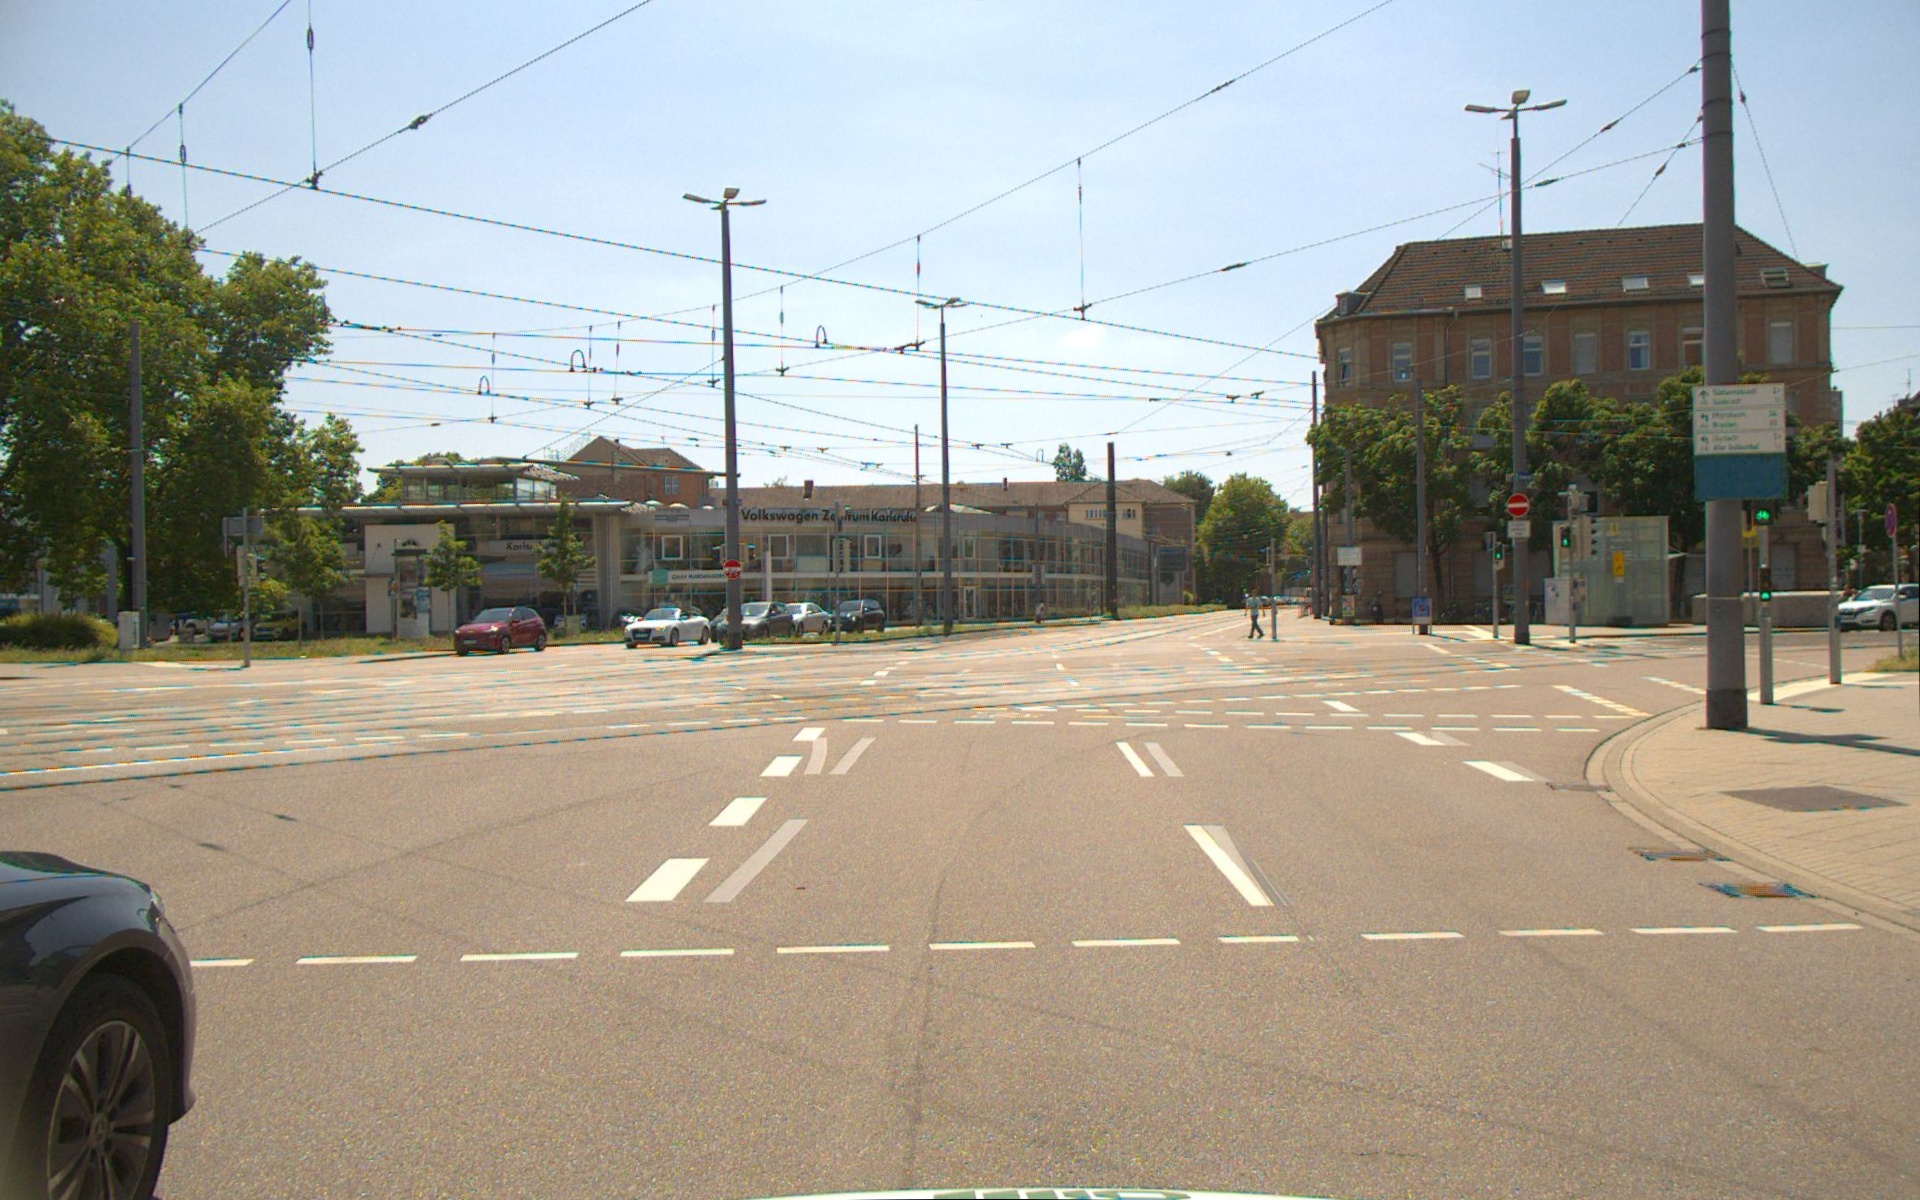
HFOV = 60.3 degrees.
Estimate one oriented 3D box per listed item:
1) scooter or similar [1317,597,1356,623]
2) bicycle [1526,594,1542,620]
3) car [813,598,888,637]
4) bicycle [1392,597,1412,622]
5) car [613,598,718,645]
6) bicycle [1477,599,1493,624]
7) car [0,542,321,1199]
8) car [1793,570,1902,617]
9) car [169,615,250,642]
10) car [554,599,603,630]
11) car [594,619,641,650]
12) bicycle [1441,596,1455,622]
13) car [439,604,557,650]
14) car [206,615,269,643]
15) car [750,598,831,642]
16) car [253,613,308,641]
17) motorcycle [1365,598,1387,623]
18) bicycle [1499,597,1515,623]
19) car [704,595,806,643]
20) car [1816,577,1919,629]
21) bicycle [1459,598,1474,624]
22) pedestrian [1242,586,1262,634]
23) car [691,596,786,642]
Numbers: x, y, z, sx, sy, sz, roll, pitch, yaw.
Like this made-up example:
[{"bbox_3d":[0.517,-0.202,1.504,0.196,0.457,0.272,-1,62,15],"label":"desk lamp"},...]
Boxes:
[{"bbox_3d":[17.788,0.461,78.106,1.763,1.202,0.595,-1,0,-24],"label":"scooter or similar"},{"bbox_3d":[26.028,0.322,75.045,0.539,1.139,1.931,-1,0,15],"label":"bicycle"},{"bbox_3d":[-5.160,0.811,78.777,2.034,1.712,4.849,-1,0,16],"label":"car"},{"bbox_3d":[20.063,0.431,75.103,0.539,1.139,1.821,-1,0,5],"label":"bicycle"},{"bbox_3d":[-10.558,0.743,59.708,2.032,1.608,4.850,-1,0,12],"label":"car"},{"bbox_3d":[23.698,0.515,74.667,0.539,1.139,1.890,-1,0,15],"label":"bicycle"},{"bbox_3d":[-2.616,0.719,1.937,1.760,1.669,4.805,1,0,1],"label":"car"},{"bbox_3d":[32.177,-0.244,59.975,3.595,1.633,1.681,-1,0,-26],"label":"car"},{"bbox_3d":[-46.168,1.722,101.743,4.279,1.536,1.750,-1,0,-37],"label":"car"},{"bbox_3d":[-22.005,0.854,95.486,1.881,1.737,3.999,1,-1,-1],"label":"car"},{"bbox_3d":[-19.797,1.987,95.738,1.881,1.737,3.999,1,-1,-1],"label":"car"},{"bbox_3d":[22.089,0.393,74.926,0.539,1.139,1.821,-1,0,15],"label":"bicycle"},{"bbox_3d":[-16.152,0.930,58.082,1.951,1.491,4.850,-1,0,12],"label":"car"},{"bbox_3d":[-42.065,1.650,96.402,1.731,1.536,4.326,-1,0,0],"label":"car"},{"bbox_3d":[-7.313,0.844,71.868,1.951,1.770,4.546,-1,0,16],"label":"car"},{"bbox_3d":[-39.443,1.577,96.111,1.733,1.536,4.321,-1,0,-6],"label":"car"},{"bbox_3d":[18.887,0.475,75.057,0.568,1.093,1.947,-1,0,3],"label":"motorcycle"},{"bbox_3d":[24.820,0.446,75.045,0.539,1.139,1.872,-1,0,15],"label":"bicycle"},{"bbox_3d":[-7.379,0.662,60.096,1.951,1.666,4.849,-1,0,16],"label":"car"},{"bbox_3d":[30.393,0.096,54.537,4.127,1.633,1.681,-1,0,-26],"label":"car"},{"bbox_3d":[22.875,0.505,74.696,0.539,1.139,1.821,-1,0,15],"label":"bicycle"},{"bbox_3d":[10.653,0.375,60.326,0.454,1.738,0.636,-1,0,-19],"label":"pedestrian"},{"bbox_3d":[-8.769,0.740,65.891,1.951,1.730,4.849,-1,0,16],"label":"car"}]
